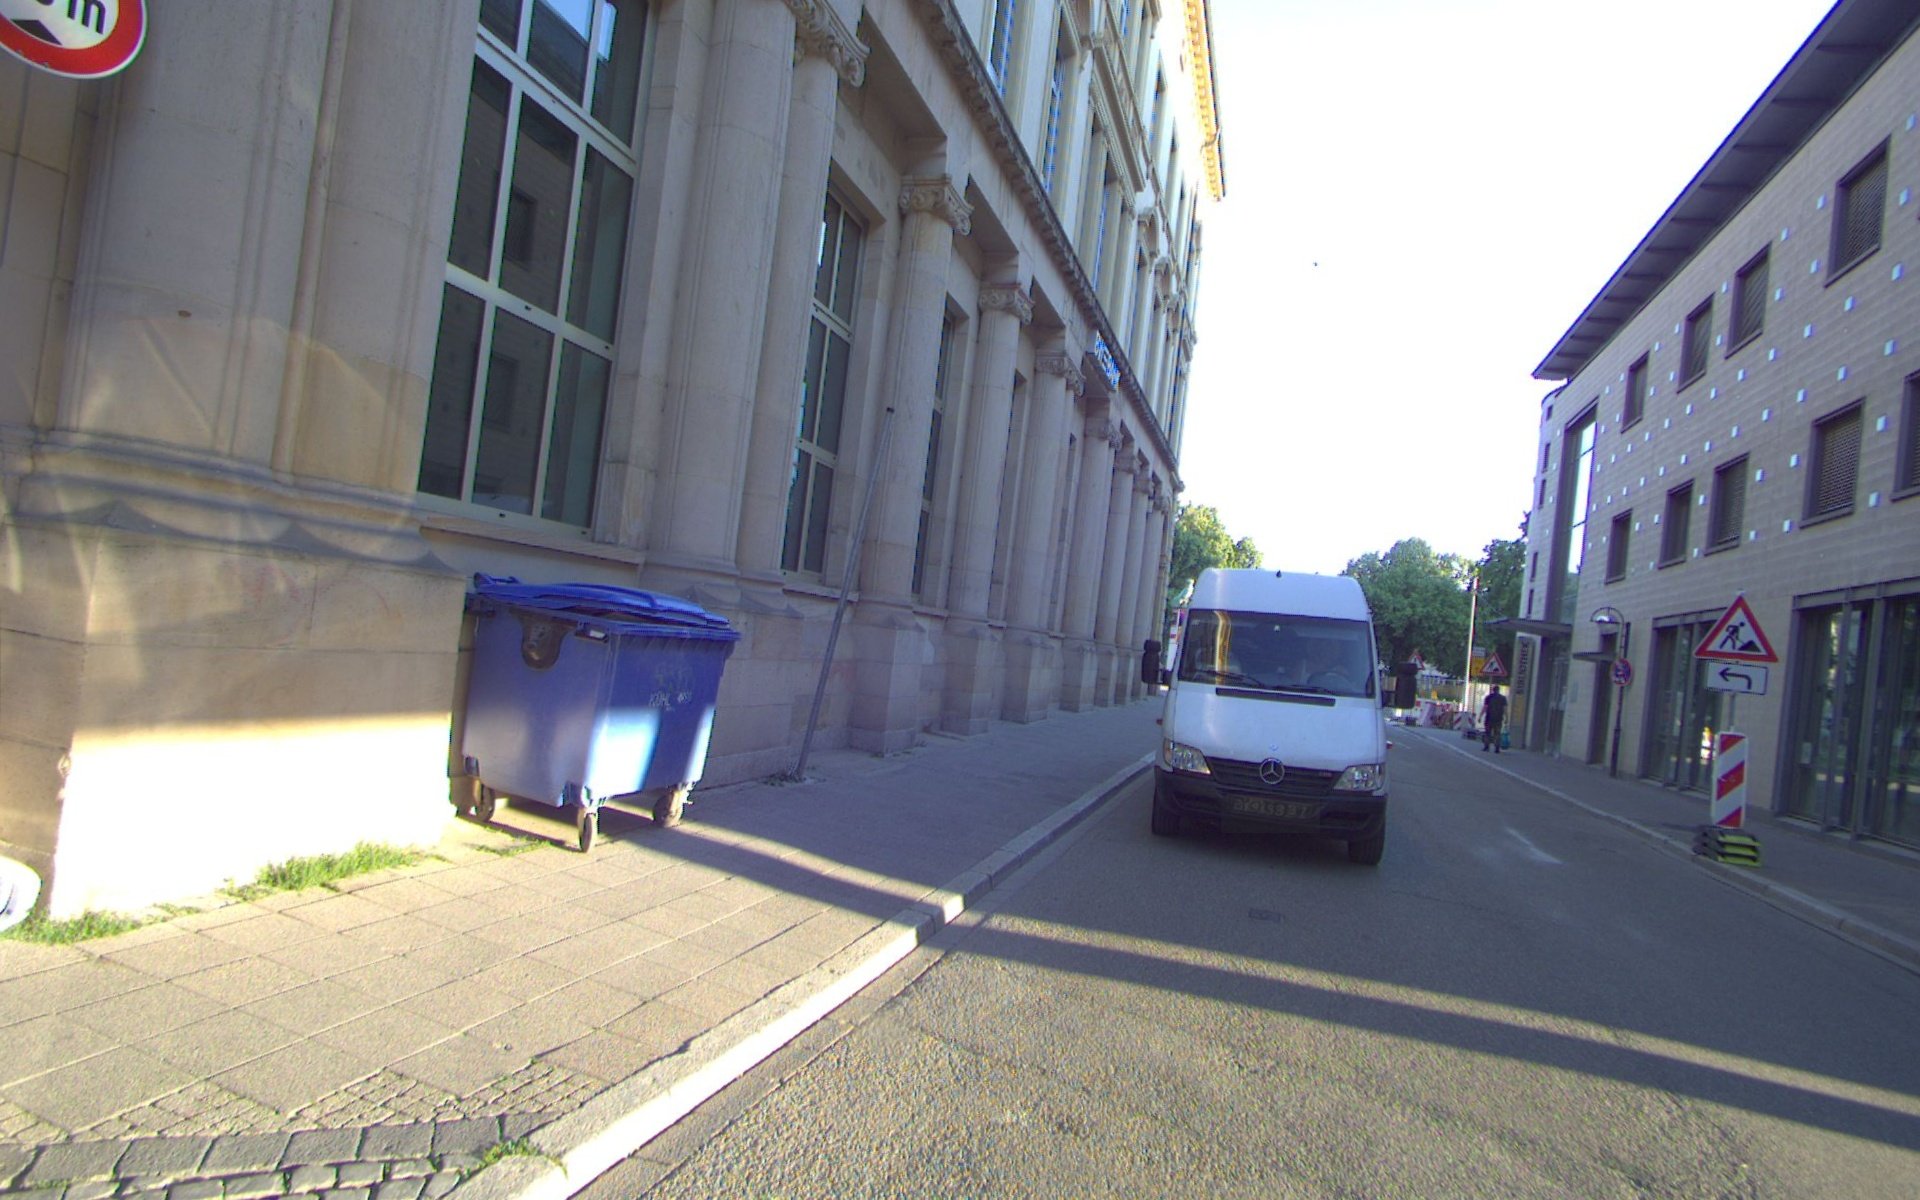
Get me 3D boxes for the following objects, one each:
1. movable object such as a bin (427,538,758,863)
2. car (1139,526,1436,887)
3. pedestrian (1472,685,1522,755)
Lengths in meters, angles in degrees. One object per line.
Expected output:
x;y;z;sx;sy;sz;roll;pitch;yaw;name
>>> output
-2.028;0.529;5.710;1.058;1.492;1.187;9;0;22;movable object such as a bin
3.282;0.944;10.682;1.964;2.542;6.475;4;-2;16;car
14.416;3.206;27.037;0.908;1.722;0.869;6;-1;19;pedestrian
